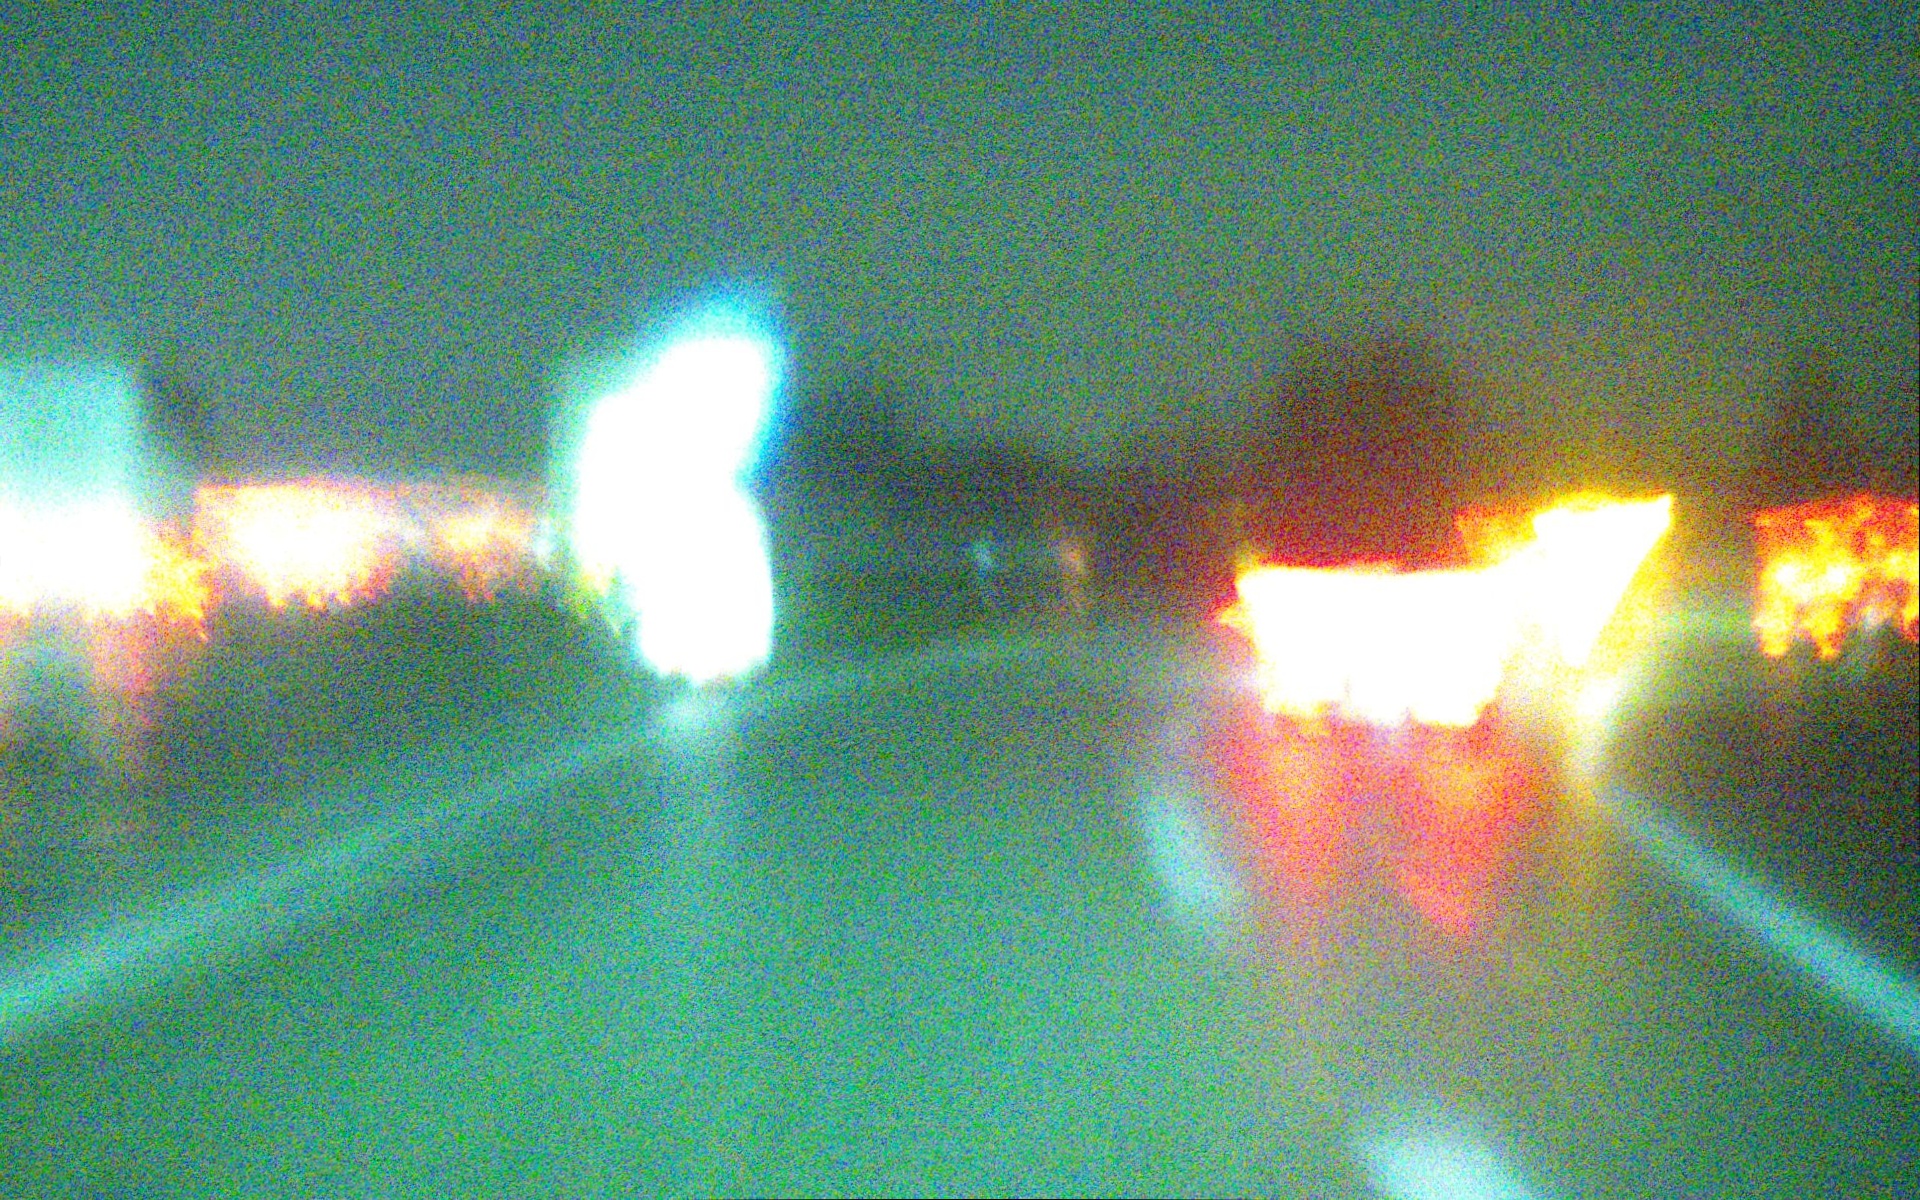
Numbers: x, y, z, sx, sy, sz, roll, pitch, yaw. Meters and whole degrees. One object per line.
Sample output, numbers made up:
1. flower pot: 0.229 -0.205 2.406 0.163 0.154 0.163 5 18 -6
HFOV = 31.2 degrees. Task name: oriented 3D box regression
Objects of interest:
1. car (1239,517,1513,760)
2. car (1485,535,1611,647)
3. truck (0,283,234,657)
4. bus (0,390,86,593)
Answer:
1. car: 3.354 0.272 28.430 1.994 1.801 3.999 2 1 4
2. car: 10.181 -0.173 59.344 1.994 1.801 3.998 2 1 11
3. truck: -14.896 -2.111 58.259 4.209 5.629 11.470 2 1 -8
4. bus: -22.804 -2.549 81.935 3.096 4.492 10.916 2 1 -11
